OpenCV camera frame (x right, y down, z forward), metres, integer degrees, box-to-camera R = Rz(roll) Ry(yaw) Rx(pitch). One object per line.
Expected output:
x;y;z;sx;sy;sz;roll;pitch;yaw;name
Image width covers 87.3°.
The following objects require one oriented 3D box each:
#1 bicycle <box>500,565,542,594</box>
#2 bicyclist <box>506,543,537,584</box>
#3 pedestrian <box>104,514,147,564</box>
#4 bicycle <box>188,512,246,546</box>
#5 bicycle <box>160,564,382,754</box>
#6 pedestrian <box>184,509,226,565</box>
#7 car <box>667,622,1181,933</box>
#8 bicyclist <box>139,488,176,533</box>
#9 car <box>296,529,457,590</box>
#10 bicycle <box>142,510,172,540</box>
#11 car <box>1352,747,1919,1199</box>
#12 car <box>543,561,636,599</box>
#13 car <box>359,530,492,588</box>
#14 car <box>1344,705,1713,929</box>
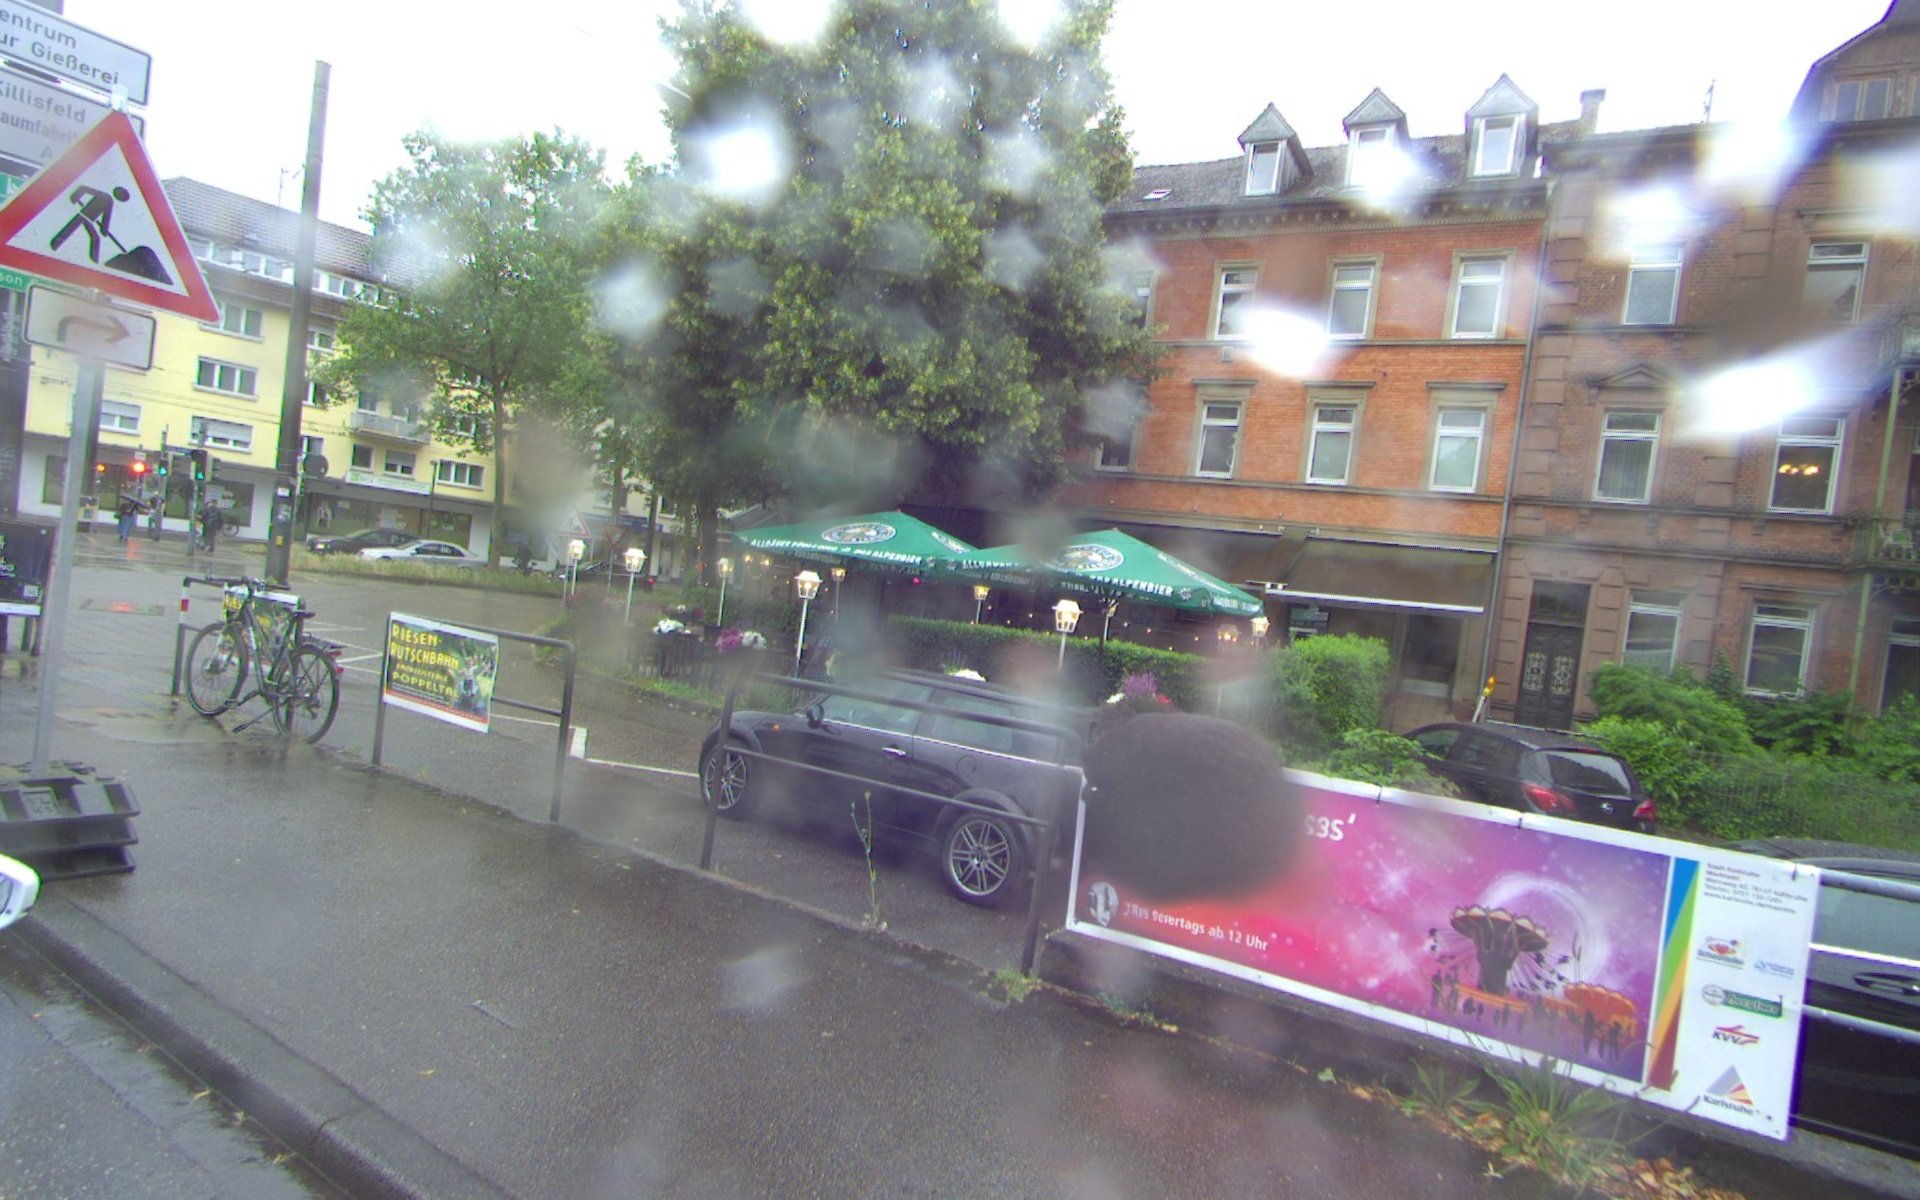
-18.930;-0.879;43.420;0.415;1.013;1.640;7;-1;32;bicycle
-18.889;-1.568;43.360;0.699;1.634;0.815;7;-1;32;bicyclist
-27.694;-2.014;33.388;0.612;1.552;0.816;7;0;-6;pedestrian
-35.582;-3.412;48.196;2.096;1.277;0.525;8;0;-44;bicycle
-5.165;0.405;7.489;1.984;1.119;0.515;7;-3;34;bicycle
-24.904;-2.071;33.203;0.899;1.689;1.011;7;-1;-34;pedestrian
-0.340;1.219;7.791;3.468;1.457;1.710;8;-3;34;car
-31.169;-3.448;39.083;0.928;1.566;1.059;8;-1;-35;bicyclist
-22.427;-1.500;38.819;1.975;1.661;4.928;3;-4;43;car
-31.198;-2.909;39.115;0.653;1.039;2.006;8;-1;-34;bicycle
4.212;1.795;4.948;3.907;1.416;1.706;7;-1;32;car
-15.500;-0.823;42.269;1.227;1.095;3.531;7;-2;34;car
-19.788;-1.503;37.304;3.926;1.508;1.784;8;0;-43;car
6.565;2.428;12.258;1.964;1.733;4.000;7;-1;-2;car
